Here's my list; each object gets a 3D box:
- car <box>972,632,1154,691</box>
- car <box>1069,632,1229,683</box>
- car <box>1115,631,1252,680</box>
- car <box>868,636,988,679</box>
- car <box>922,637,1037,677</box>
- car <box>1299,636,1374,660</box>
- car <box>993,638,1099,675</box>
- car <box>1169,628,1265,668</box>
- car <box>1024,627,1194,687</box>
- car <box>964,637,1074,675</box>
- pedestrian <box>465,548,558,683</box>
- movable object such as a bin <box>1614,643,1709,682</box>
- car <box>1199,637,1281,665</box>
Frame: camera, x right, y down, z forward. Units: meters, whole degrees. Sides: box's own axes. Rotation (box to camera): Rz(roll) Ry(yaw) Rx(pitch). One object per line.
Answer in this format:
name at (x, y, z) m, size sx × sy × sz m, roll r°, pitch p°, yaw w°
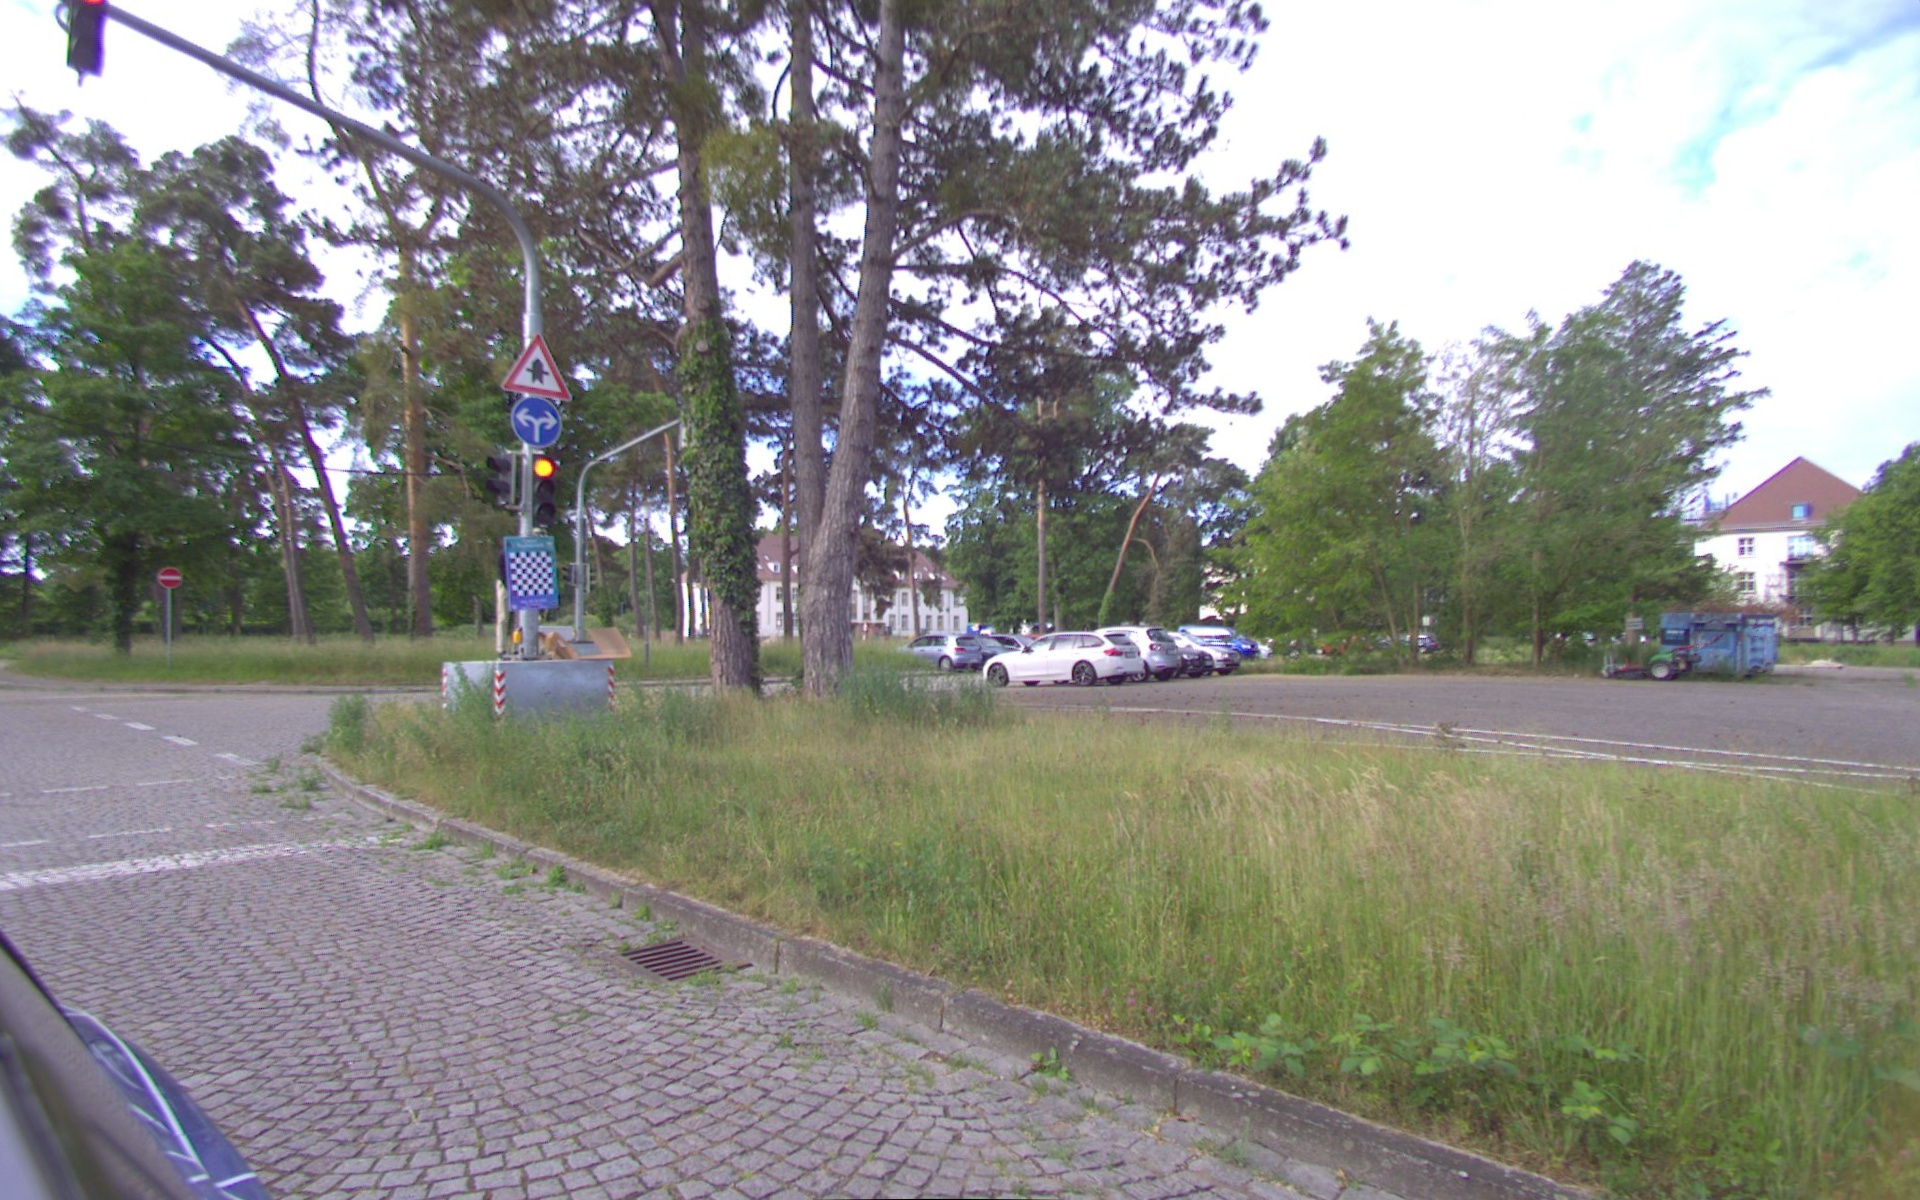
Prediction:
car at (2.700, 1.686, 27.329) m, size 4.650 × 1.461 × 1.817 m, roll -4°, pitch -4°, yaw 39°
car at (5.812, 1.815, 31.508) m, size 4.583 × 1.480 × 1.815 m, roll -4°, pitch -4°, yaw 42°
car at (7.390, 1.867, 33.734) m, size 4.112 × 1.533 × 1.714 m, roll -4°, pitch -4°, yaw 42°
car at (-1.298, 2.306, 40.149) m, size 4.572 × 1.559 × 1.820 m, roll -4°, pitch -4°, yaw 34°
car at (0.767, 2.378, 41.909) m, size 4.579 × 1.533 × 1.817 m, roll -4°, pitch -4°, yaw 39°
car at (26.776, 3.430, 72.025) m, size 4.579 × 1.533 × 1.817 m, roll -4°, pitch -4°, yaw 39°
car at (3.856, 2.570, 45.843) m, size 4.579 × 1.571 × 1.817 m, roll -4°, pitch -4°, yaw 39°
car at (14.565, 2.744, 57.536) m, size 4.978 × 2.113 × 1.816 m, roll -4°, pitch -4°, yaw 41°
car at (4.254, 1.689, 29.396) m, size 4.579 × 1.590 × 1.817 m, roll -4°, pitch -4°, yaw 39°
car at (2.519, 2.446, 43.875) m, size 4.579 × 1.533 × 1.817 m, roll -4°, pitch -4°, yaw 39°
pedestrian at (-5.367, 0.197, 12.105) m, size 0.869 × 1.529 × 0.824 m, roll 1°, pitch -3°, yaw -34°
movable object such as a bin at (17.789, 1.567, 25.708) m, size 1.931 × 0.940 × 1.029 m, roll -2°, pitch -3°, yaw 35°
car at (16.408, 2.993, 59.403) m, size 4.283 × 1.533 × 1.727 m, roll -4°, pitch -4°, yaw 39°
